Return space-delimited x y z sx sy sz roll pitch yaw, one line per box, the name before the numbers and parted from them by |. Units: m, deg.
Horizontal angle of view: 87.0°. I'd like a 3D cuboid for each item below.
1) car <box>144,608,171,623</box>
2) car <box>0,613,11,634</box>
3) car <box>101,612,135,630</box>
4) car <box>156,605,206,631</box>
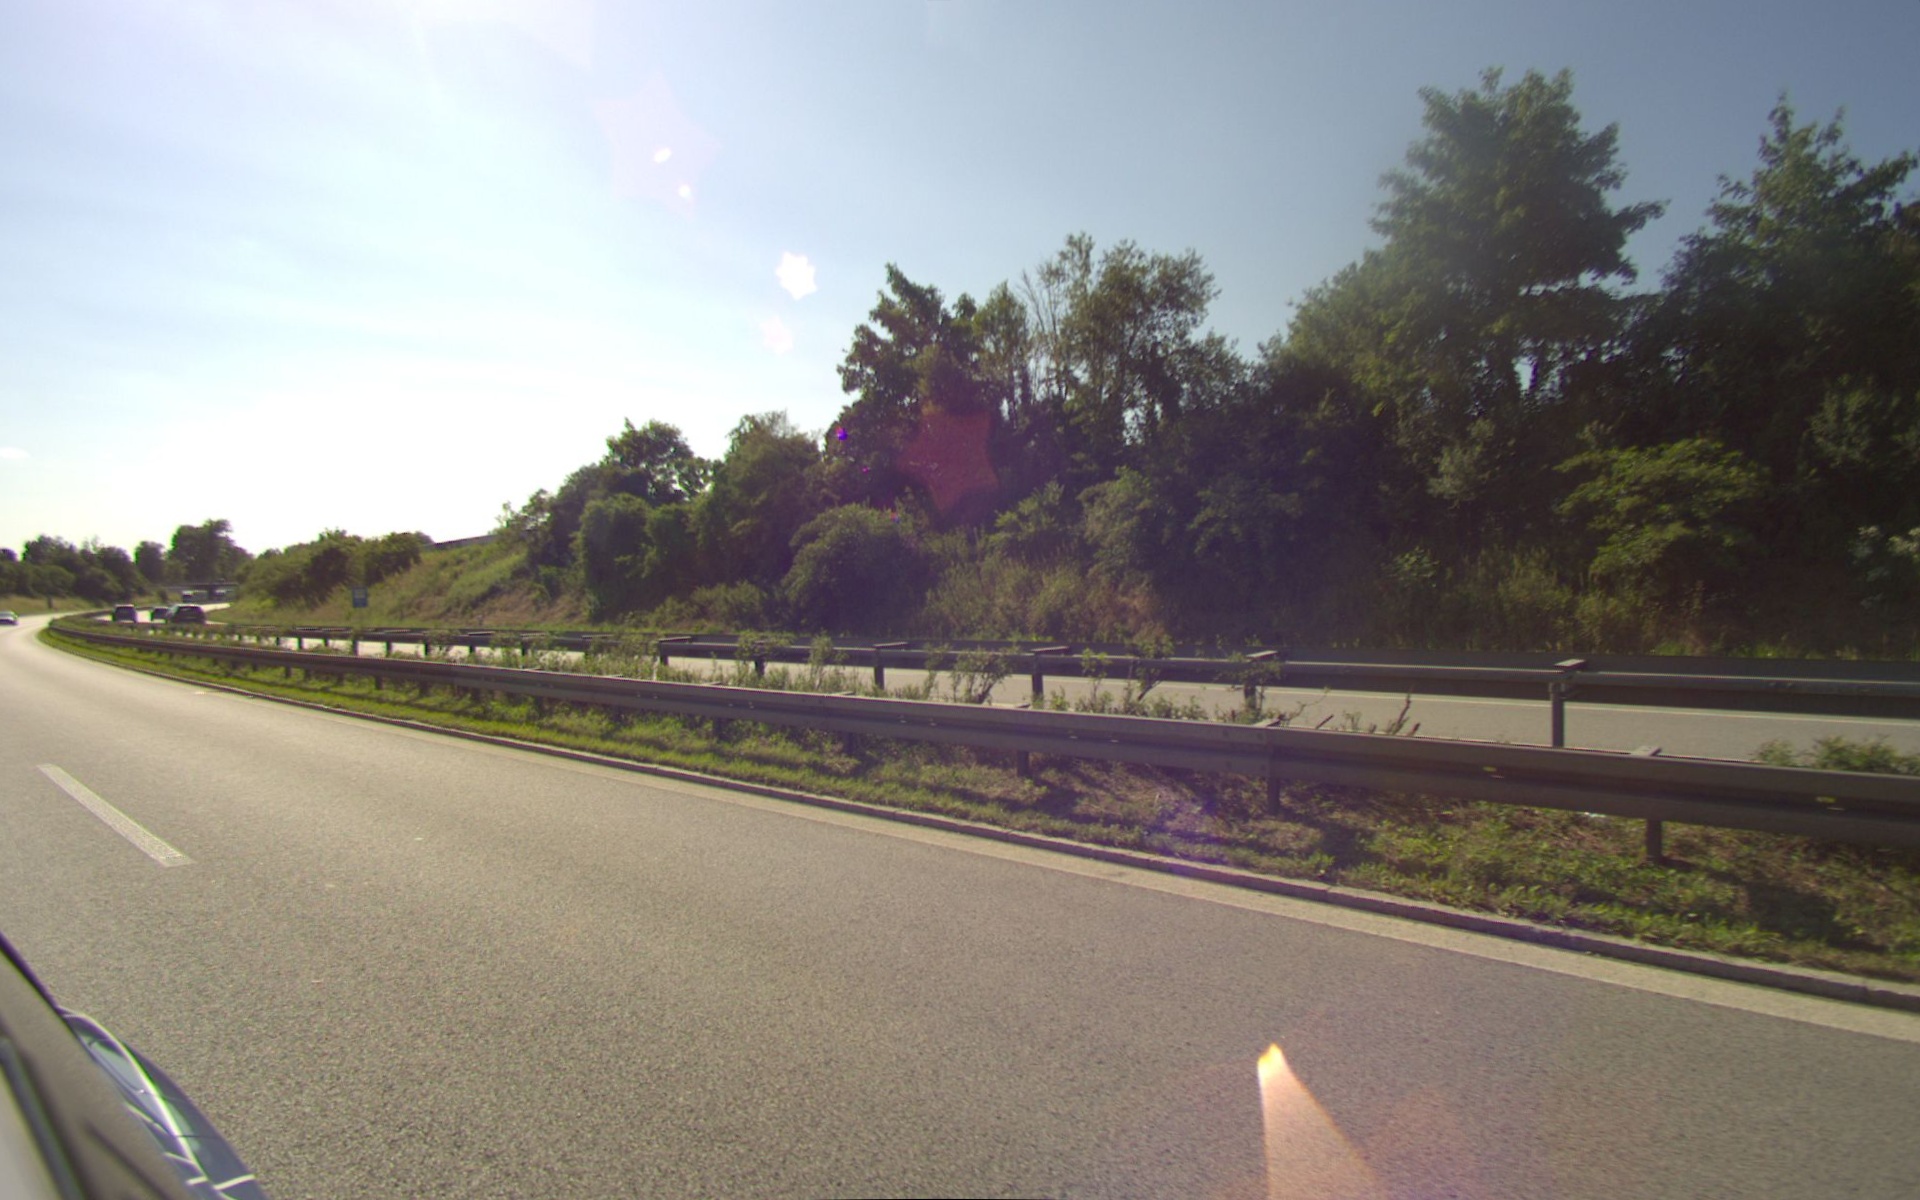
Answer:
car | -85.442 1.641 107.718 1.798 1.491 4.688 -1 0 -44
car | -99.610 2.464 104.632 4.601 2.028 1.971 -1 2 45
car | -79.617 1.971 95.655 4.889 1.692 2.044 -1 -2 45
car | -52.373 1.221 68.017 4.433 1.664 1.972 -1 -1 42
